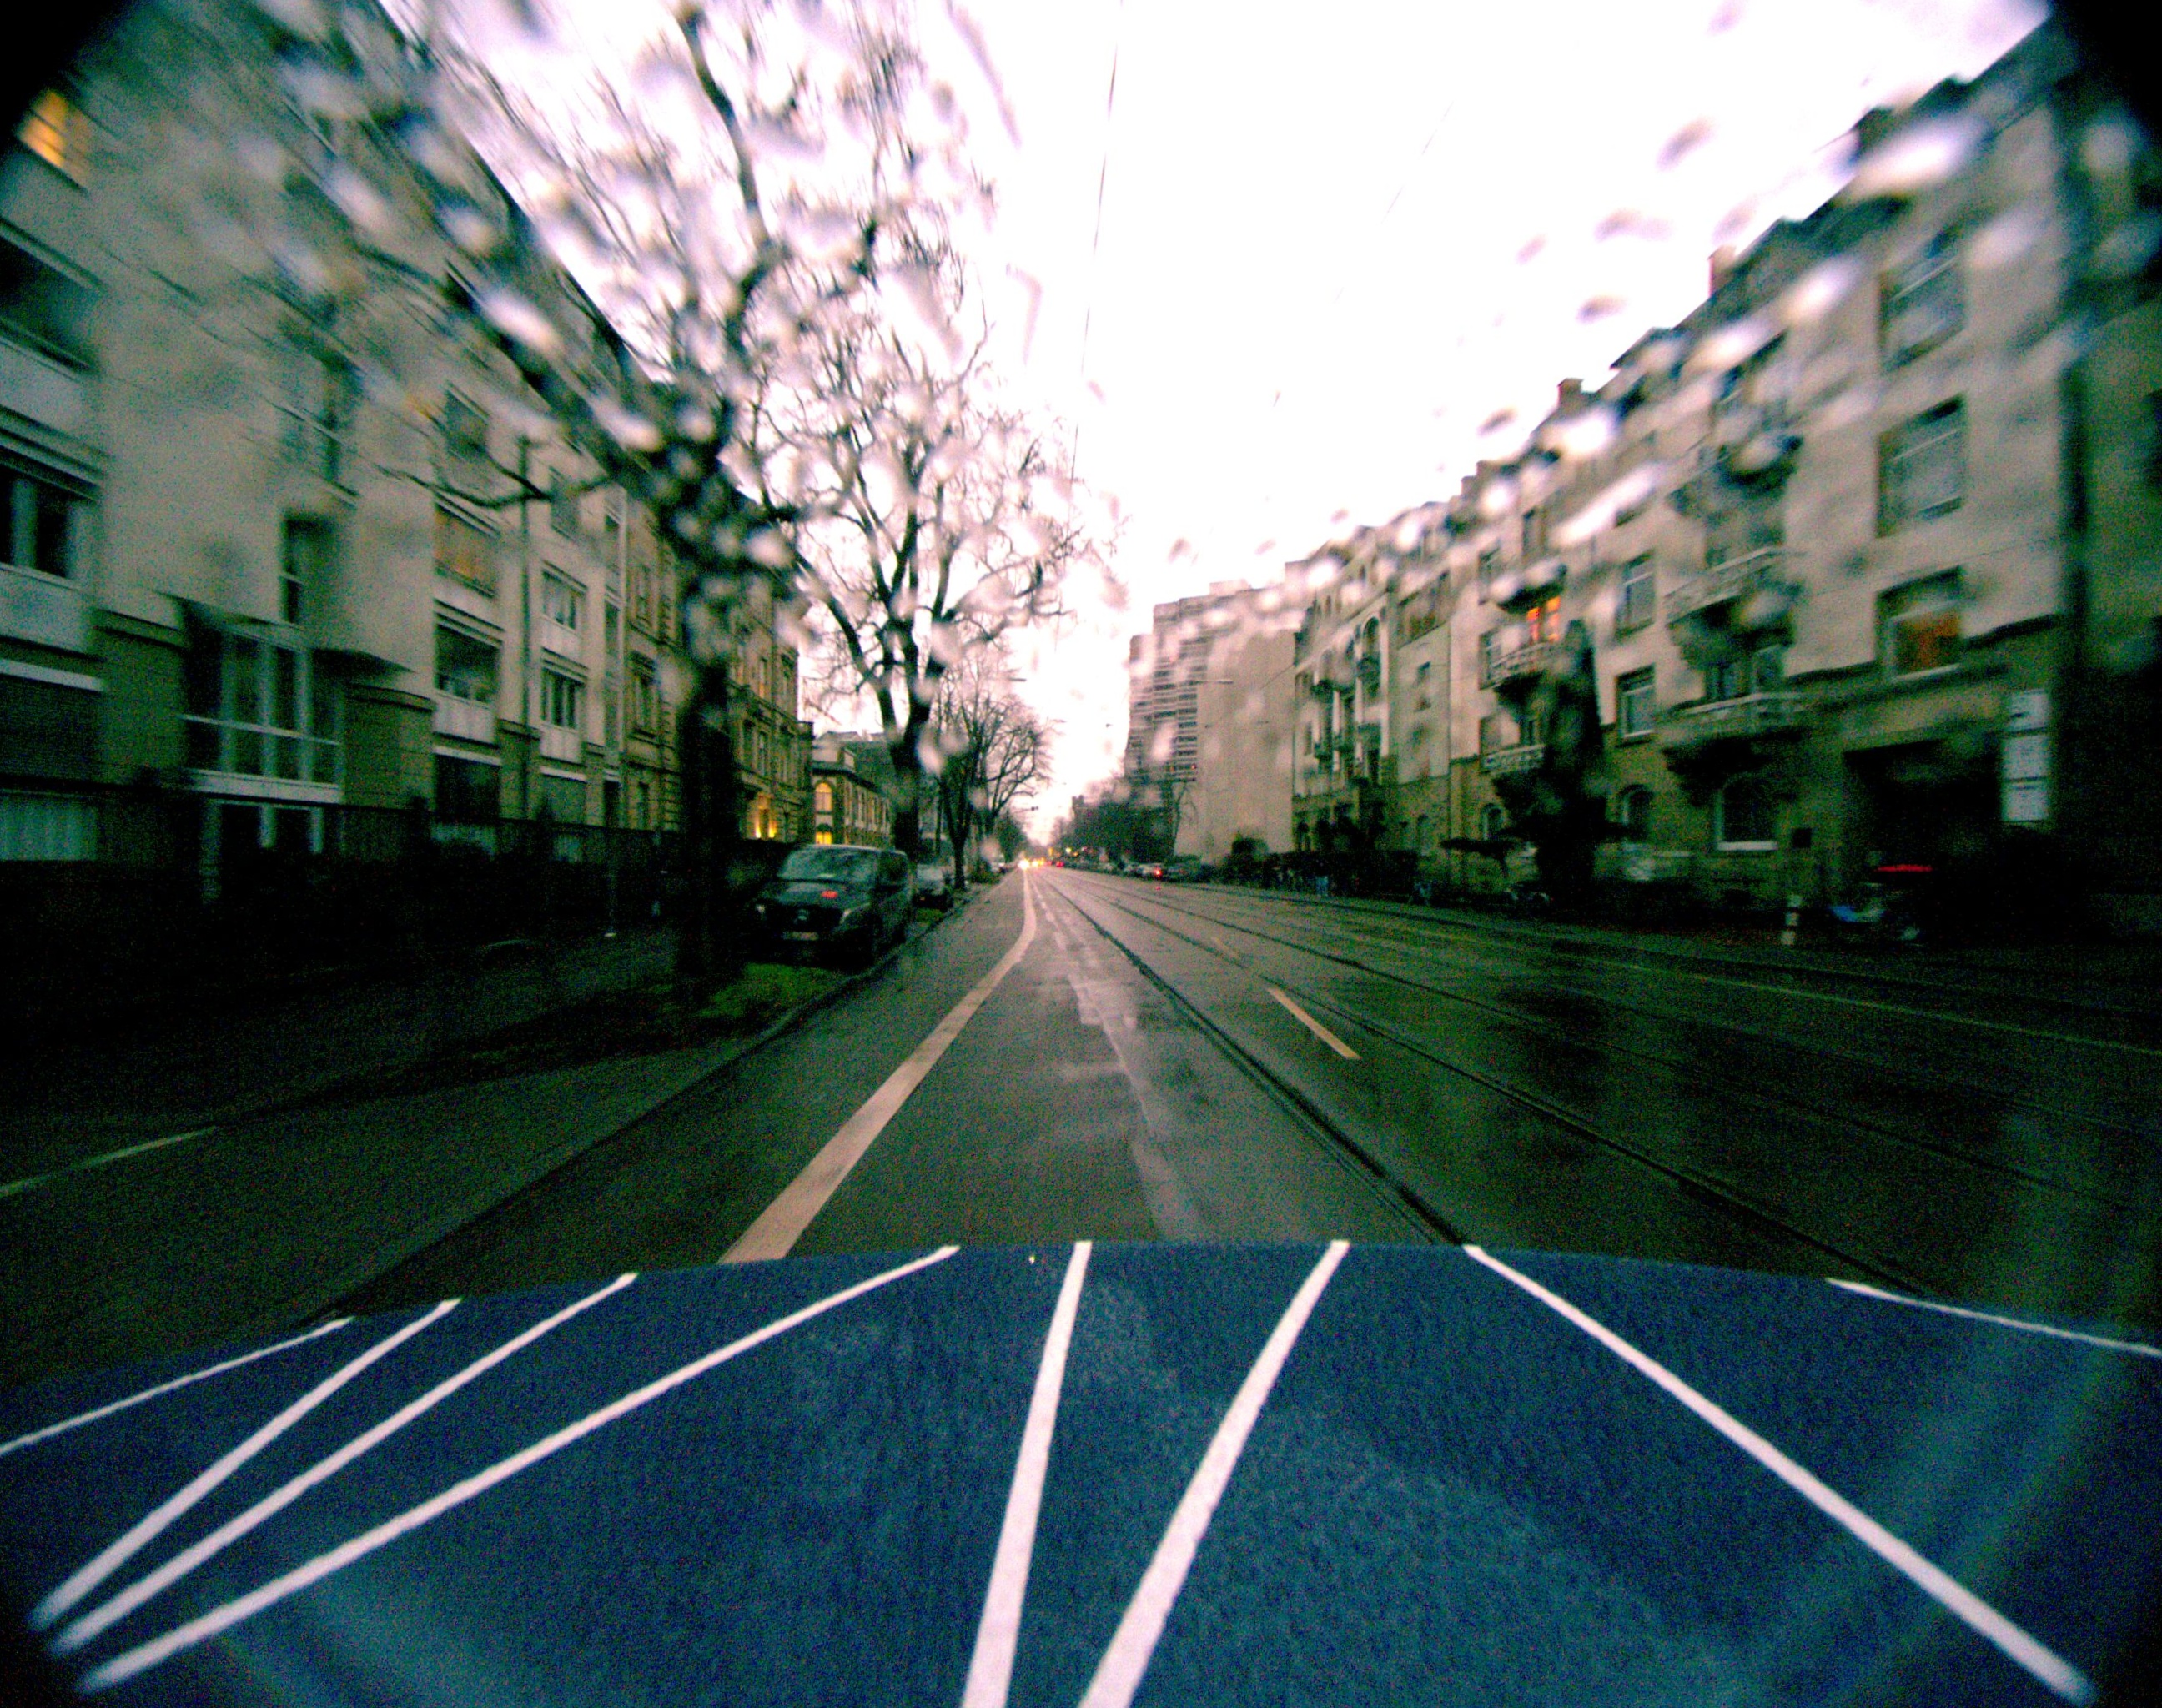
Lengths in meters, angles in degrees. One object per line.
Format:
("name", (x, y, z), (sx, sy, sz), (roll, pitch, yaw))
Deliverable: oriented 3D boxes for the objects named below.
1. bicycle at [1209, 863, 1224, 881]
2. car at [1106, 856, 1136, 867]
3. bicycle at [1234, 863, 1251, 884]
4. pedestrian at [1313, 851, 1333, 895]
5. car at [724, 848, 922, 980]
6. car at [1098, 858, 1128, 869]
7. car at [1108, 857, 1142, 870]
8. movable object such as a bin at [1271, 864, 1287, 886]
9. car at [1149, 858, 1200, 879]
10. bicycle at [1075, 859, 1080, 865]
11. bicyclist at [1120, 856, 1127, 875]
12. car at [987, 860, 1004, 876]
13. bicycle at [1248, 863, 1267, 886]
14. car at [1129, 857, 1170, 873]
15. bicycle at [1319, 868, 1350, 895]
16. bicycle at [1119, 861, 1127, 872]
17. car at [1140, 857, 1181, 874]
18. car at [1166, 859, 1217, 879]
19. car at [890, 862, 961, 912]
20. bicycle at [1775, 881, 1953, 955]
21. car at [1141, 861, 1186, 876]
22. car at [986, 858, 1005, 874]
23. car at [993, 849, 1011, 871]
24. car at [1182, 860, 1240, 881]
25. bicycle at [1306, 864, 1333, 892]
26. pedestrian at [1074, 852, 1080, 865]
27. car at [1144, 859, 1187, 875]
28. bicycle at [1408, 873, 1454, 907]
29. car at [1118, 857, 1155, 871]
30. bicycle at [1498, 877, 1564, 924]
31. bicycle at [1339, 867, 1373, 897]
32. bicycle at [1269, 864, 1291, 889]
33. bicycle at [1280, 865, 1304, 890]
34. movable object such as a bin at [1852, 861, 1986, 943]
("bicycle", (8.879, 1.184, 49.956), (0.625, 1.157, 1.662), (-1, 0, -2))
("car", (5.551, 1.034, 105.367), (4.008, 1.586, 1.864), (0, 0, -41))
("bicycle", (9.413, 1.134, 44.296), (0.625, 1.205, 1.662), (0, 0, -2))
("pedestrian", (9.628, 0.761, 30.199), (0.574, 1.715, 0.644), (-1, 1, 0))
("car", (-4.182, 0.874, 13.296), (2.036, 1.864, 4.962), (1, 0, -4))
("car", (4.490, 1.305, 107.109), (4.008, 1.586, 1.864), (0, 0, -41))
("car", (5.435, 1.158, 94.002), (4.008, 1.586, 1.864), (0, 0, -41))
("movable object such as a bin", (10.479, 1.127, 40.296), (0.659, 1.157, 0.674), (0, 0, -1))
("car", (7.643, 1.171, 61.814), (4.008, 1.586, 1.864), (0, 0, -41))
("bicycle", (-0.656, 1.365, 133.591), (0.858, 0.986, 1.918), (-1, 1, 0))
("bicyclist", (4.101, 1.121, 73.615), (0.625, 1.865, 0.991), (0, 0, -2))
("car", (-8.183, 1.343, 72.557), (1.629, 1.399, 3.997), (-1, 1, -7))
("bicycle", (9.714, 1.103, 41.816), (0.625, 1.205, 1.662), (0, 0, -2))
("car", (7.089, 1.088, 78.535), (4.008, 1.586, 1.864), (0, 0, -41))
("bicycle", (10.445, 1.120, 31.358), (0.625, 1.059, 1.726), (0, 0, -2))
("bicycle", (4.102, 1.230, 73.764), (0.625, 1.086, 1.947), (0, 0, -2))
("car", (7.953, 1.121, 75.912), (4.008, 1.586, 1.864), (0, 0, -41))
("car", (8.570, 1.166, 58.855), (4.008, 1.477, 1.760), (0, 0, -41))
("car", (-4.968, 1.001, 24.755), (1.763, 1.436, 4.156), (2, -1, -5))
("bicycle", (13.272, 1.065, 12.907), (2.355, 1.099, 0.695), (-2, 0, -2))
("car", (6.987, 1.213, 64.307), (3.674, 1.245, 1.707), (1, 0, -42))
("car", (-9.347, 1.269, 82.780), (2.000, 1.672, 3.997), (-1, 1, -7))
("car", (-9.653, 0.718, 92.442), (2.094, 2.622, 5.445), (-1, 1, -7))
("car", (9.653, 1.184, 56.413), (4.007, 1.485, 1.864), (0, 0, -32))
("bicycle", (10.390, 1.040, 33.191), (0.625, 1.205, 1.662), (0, 0, -2))
("pedestrian", (-0.664, 0.744, 133.590), (0.952, 2.246, 1.119), (-1, 1, 1))
("car", (8.047, 1.185, 72.227), (4.008, 1.440, 1.864), (0, 0, -41))
("bicycle", (11.007, 1.117, 23.953), (0.625, 0.997, 1.662), (0, 0, -2))
("car", (6.289, 1.089, 85.270), (4.008, 1.586, 1.864), (0, 0, -41))
("bicycle", (11.233, 1.143, 19.009), (0.625, 1.086, 1.662), (0, 0, -2))
("bicycle", (10.640, 1.063, 29.404), (0.625, 1.119, 1.783), (0, 0, -2))
("bicycle", (9.893, 1.107, 37.859), (0.625, 1.205, 1.662), (0, 0, -2))
("bicycle", (9.973, 1.094, 35.920), (0.625, 1.157, 1.662), (0, 0, -2))
("movable object such as a bin", (15.222, 0.844, 13.848), (1.105, 1.371, 1.167), (-3, 0, -2))
